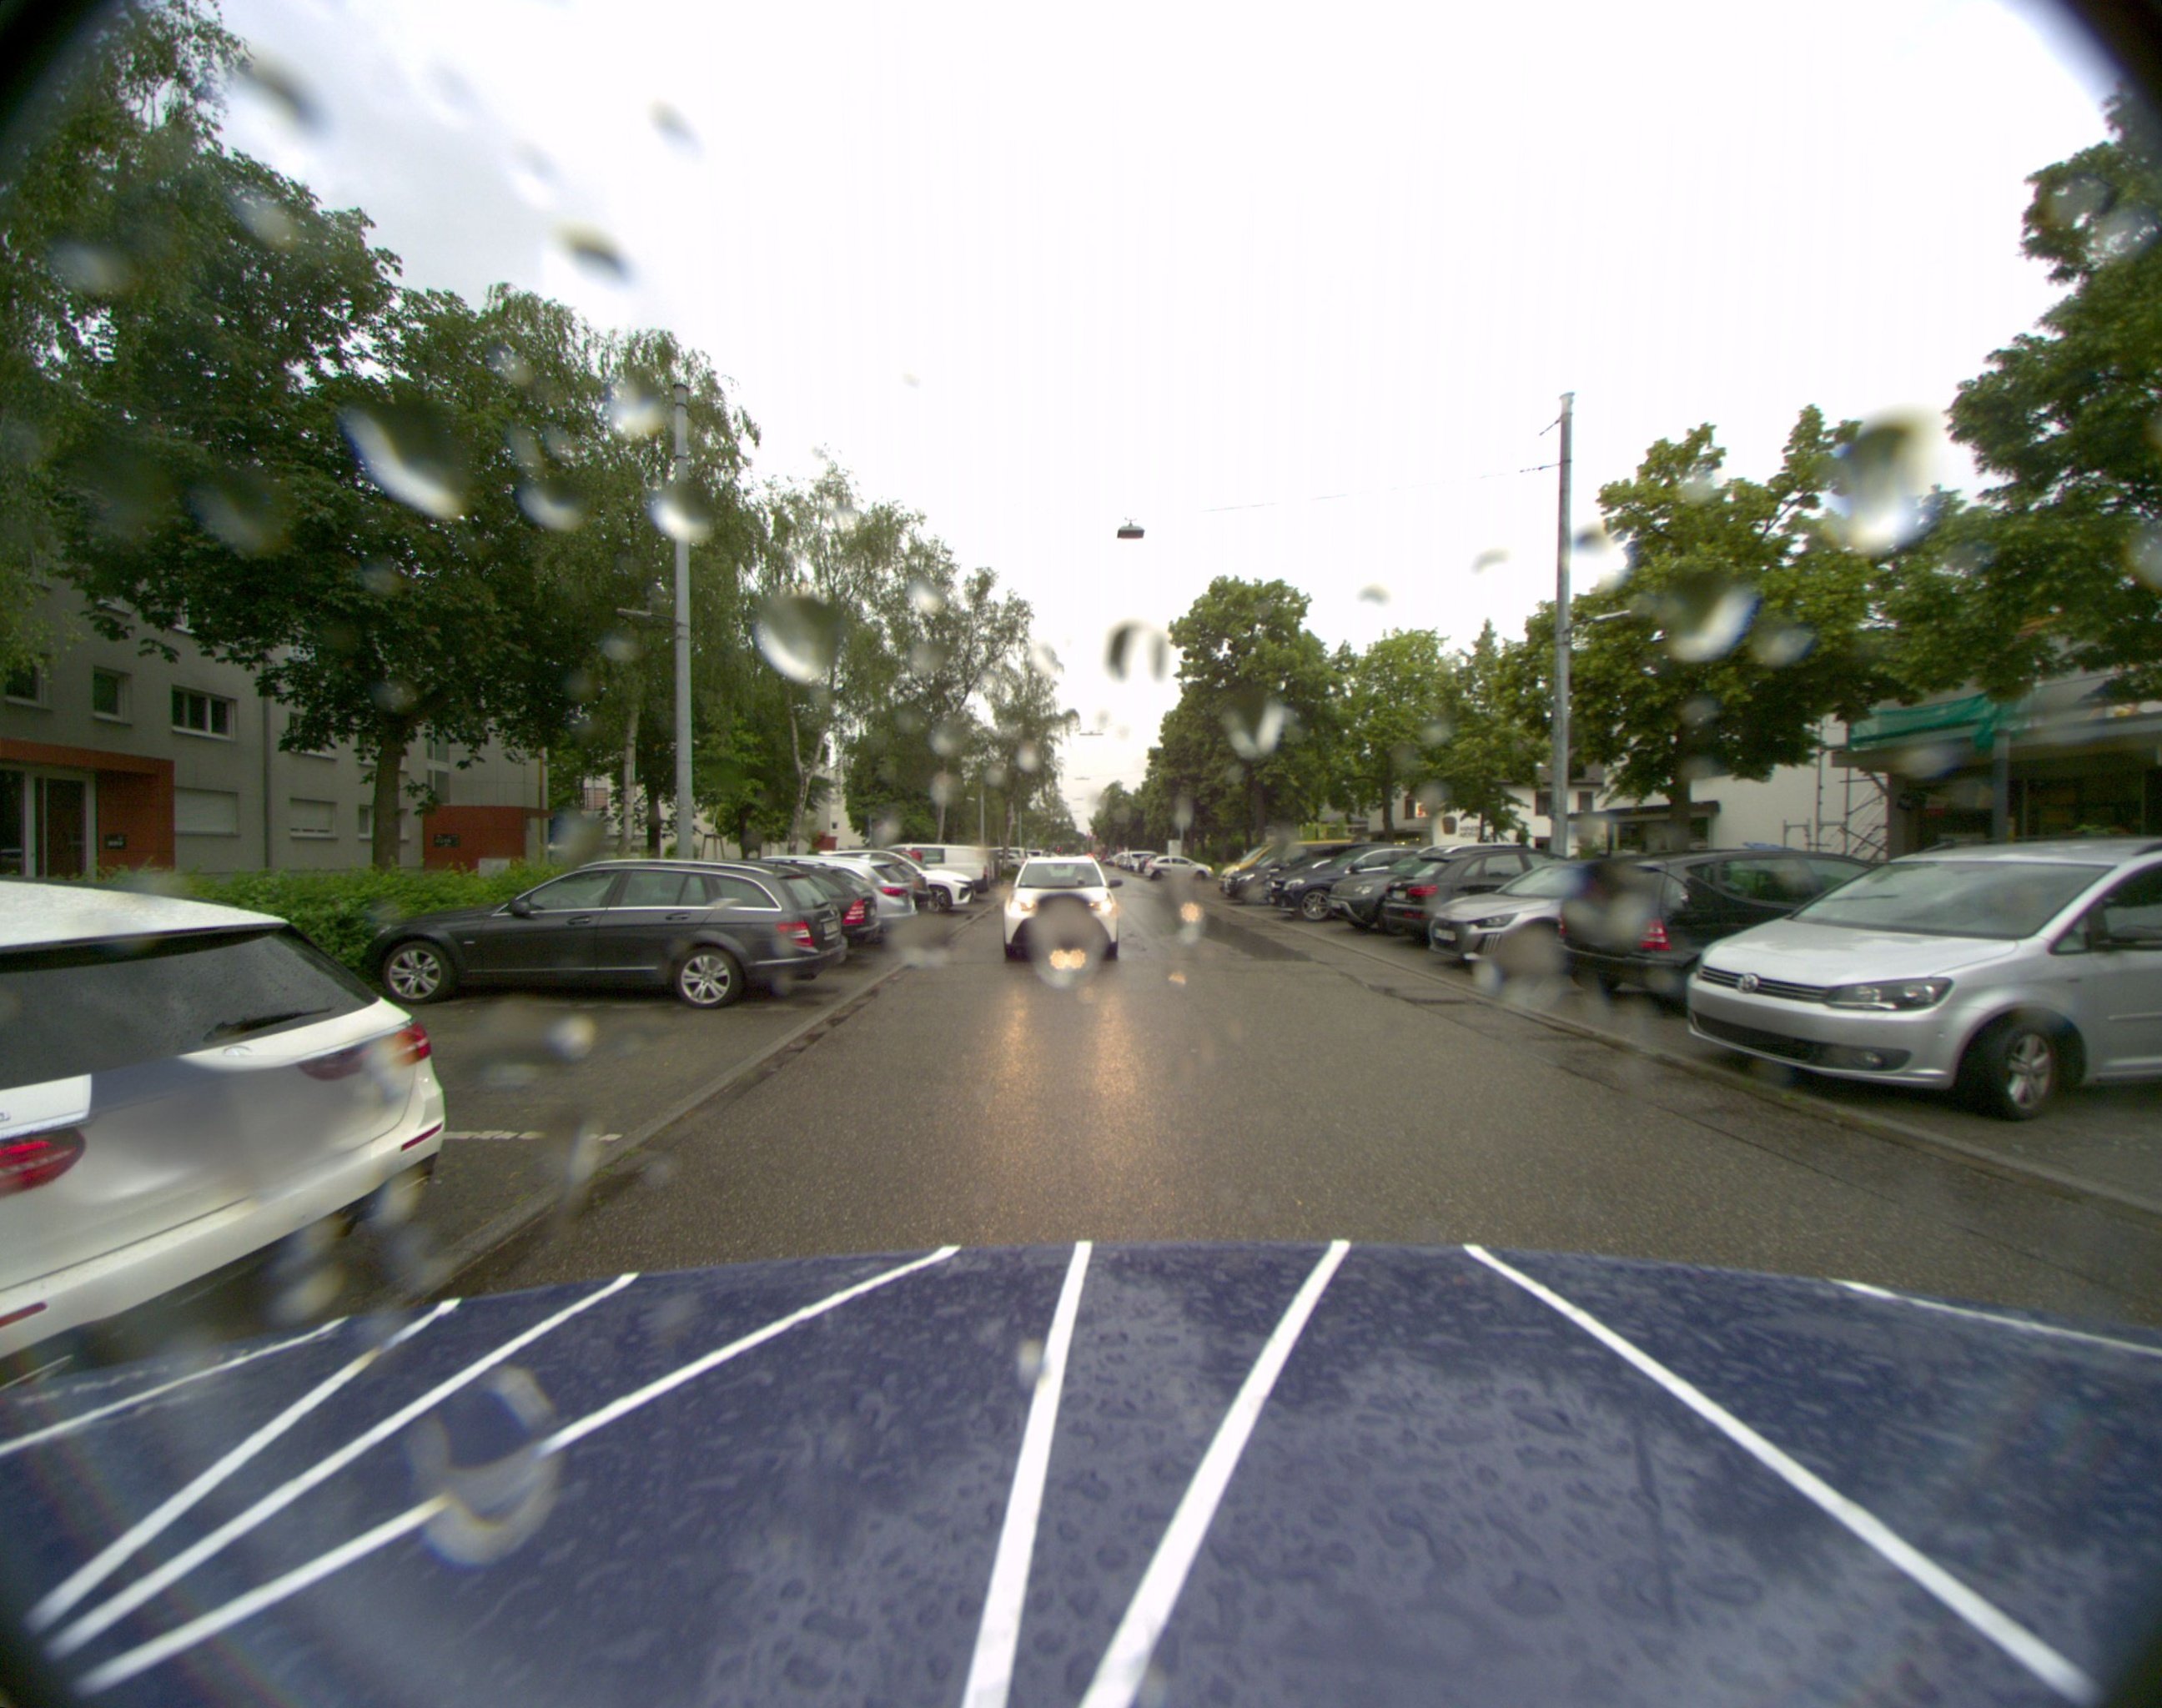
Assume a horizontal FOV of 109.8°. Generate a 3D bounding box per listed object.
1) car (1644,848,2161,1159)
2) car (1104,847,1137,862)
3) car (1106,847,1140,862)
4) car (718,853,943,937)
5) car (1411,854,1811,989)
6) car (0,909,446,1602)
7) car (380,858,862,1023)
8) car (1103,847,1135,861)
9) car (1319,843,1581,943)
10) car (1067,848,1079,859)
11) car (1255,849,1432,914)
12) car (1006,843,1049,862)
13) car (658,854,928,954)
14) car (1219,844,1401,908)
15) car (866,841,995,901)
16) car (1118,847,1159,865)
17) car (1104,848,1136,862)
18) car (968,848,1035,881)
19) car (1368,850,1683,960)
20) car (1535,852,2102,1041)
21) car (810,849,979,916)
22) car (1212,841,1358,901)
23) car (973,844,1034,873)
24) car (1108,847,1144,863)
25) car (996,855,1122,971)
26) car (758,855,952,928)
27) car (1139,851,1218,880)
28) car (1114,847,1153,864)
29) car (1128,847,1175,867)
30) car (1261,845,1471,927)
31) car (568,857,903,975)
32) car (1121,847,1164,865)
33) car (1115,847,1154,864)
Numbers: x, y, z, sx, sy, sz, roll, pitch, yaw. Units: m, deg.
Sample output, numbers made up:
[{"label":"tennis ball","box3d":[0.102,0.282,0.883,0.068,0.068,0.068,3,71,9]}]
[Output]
[{"label":"car","box3d":[6.606,0.836,5.205,4.283,1.625,1.715,-2,1,-2]},{"label":"car","box3d":[5.018,0.043,96.935,3.998,1.675,1.999,-2,1,-3]},{"label":"car","box3d":[5.209,0.068,94.413,3.998,1.675,1.999,-2,1,-3]},{"label":"car","box3d":[-5.008,0.796,15.612,4.049,1.488,1.680,2,1,-3]},{"label":"car","box3d":[6.996,0.832,10.308,4.283,1.523,1.715,-2,1,-2]},{"label":"car","box3d":[-4.761,0.912,2.063,4.623,1.431,1.680,2,1,0]},{"label":"car","box3d":[-4.613,0.846,8.106,4.049,1.431,1.680,2,1,-3]},{"label":"car","box3d":[4.961,0.017,99.168,3.998,1.675,1.999,-2,1,-3]},{"label":"car","box3d":[7.085,0.700,14.858,4.283,1.717,1.715,-2,1,-2]},{"label":"car","box3d":[-1.428,-0.078,137.098,1.998,1.804,3.999,-2,1,1]},{"label":"car","box3d":[7.188,0.721,21.054,4.283,1.617,1.715,-2,1,-2]},{"label":"car","box3d":[-5.253,-0.151,75.010,3.995,1.670,1.902,-2,1,4]},{"label":"car","box3d":[-4.867,0.820,13.288,4.049,1.488,1.680,2,1,-3]},{"label":"car","box3d":[7.106,0.641,23.842,5.177,1.789,1.715,-2,1,-2]},{"label":"car","box3d":[-5.096,0.572,26.179,4.182,1.856,1.679,2,1,-6]},{"label":"car","box3d":[5.929,0.237,78.463,3.998,1.675,1.999,-2,1,-3]},{"label":"car","box3d":[5.200,0.123,101.613,3.998,1.675,1.999,-2,1,-3]},{"label":"car","box3d":[-5.121,0.676,49.257,3.995,1.902,1.902,-2,1,4]},{"label":"car","box3d":[7.256,0.783,12.672,4.283,1.586,1.715,-2,1,-2]},{"label":"car","box3d":[7.256,0.834,7.750,4.283,1.556,1.635,-2,1,-2]},{"label":"car","box3d":[-5.042,0.755,20.903,4.179,1.609,1.680,2,1,1]},{"label":"car","box3d":[7.170,0.570,26.932,4.657,1.947,1.715,-2,1,-2]},{"label":"car","box3d":[-5.476,0.292,54.086,3.995,1.902,1.902,-2,1,4]},{"label":"car","box3d":[5.327,0.116,90.307,3.998,1.675,1.999,-2,1,-3]},{"label":"car","box3d":[-0.397,0.836,12.814,1.733,1.519,4.138,-2,1,-3]},{"label":"car","box3d":[-5.208,0.841,17.895,4.049,1.488,1.680,2,1,-3]},{"label":"car","box3d":[5.684,0.655,44.544,4.255,1.446,1.999,-2,1,-4]},{"label":"car","box3d":[5.777,0.182,83.750,3.998,1.675,1.999,-2,1,-3]},{"label":"car","box3d":[6.378,0.249,68.875,3.998,1.675,1.999,-2,1,-3]},{"label":"car","box3d":[6.621,0.708,17.937,4.283,1.717,1.715,-2,1,-2]},{"label":"car","box3d":[-4.810,0.849,11.026,4.049,1.431,1.680,2,1,-3]},{"label":"car","box3d":[6.071,0.173,75.803,3.998,1.675,1.999,-2,1,-3]},{"label":"car","box3d":[5.689,0.119,81.135,3.998,1.675,1.999,-2,1,-3]}]
